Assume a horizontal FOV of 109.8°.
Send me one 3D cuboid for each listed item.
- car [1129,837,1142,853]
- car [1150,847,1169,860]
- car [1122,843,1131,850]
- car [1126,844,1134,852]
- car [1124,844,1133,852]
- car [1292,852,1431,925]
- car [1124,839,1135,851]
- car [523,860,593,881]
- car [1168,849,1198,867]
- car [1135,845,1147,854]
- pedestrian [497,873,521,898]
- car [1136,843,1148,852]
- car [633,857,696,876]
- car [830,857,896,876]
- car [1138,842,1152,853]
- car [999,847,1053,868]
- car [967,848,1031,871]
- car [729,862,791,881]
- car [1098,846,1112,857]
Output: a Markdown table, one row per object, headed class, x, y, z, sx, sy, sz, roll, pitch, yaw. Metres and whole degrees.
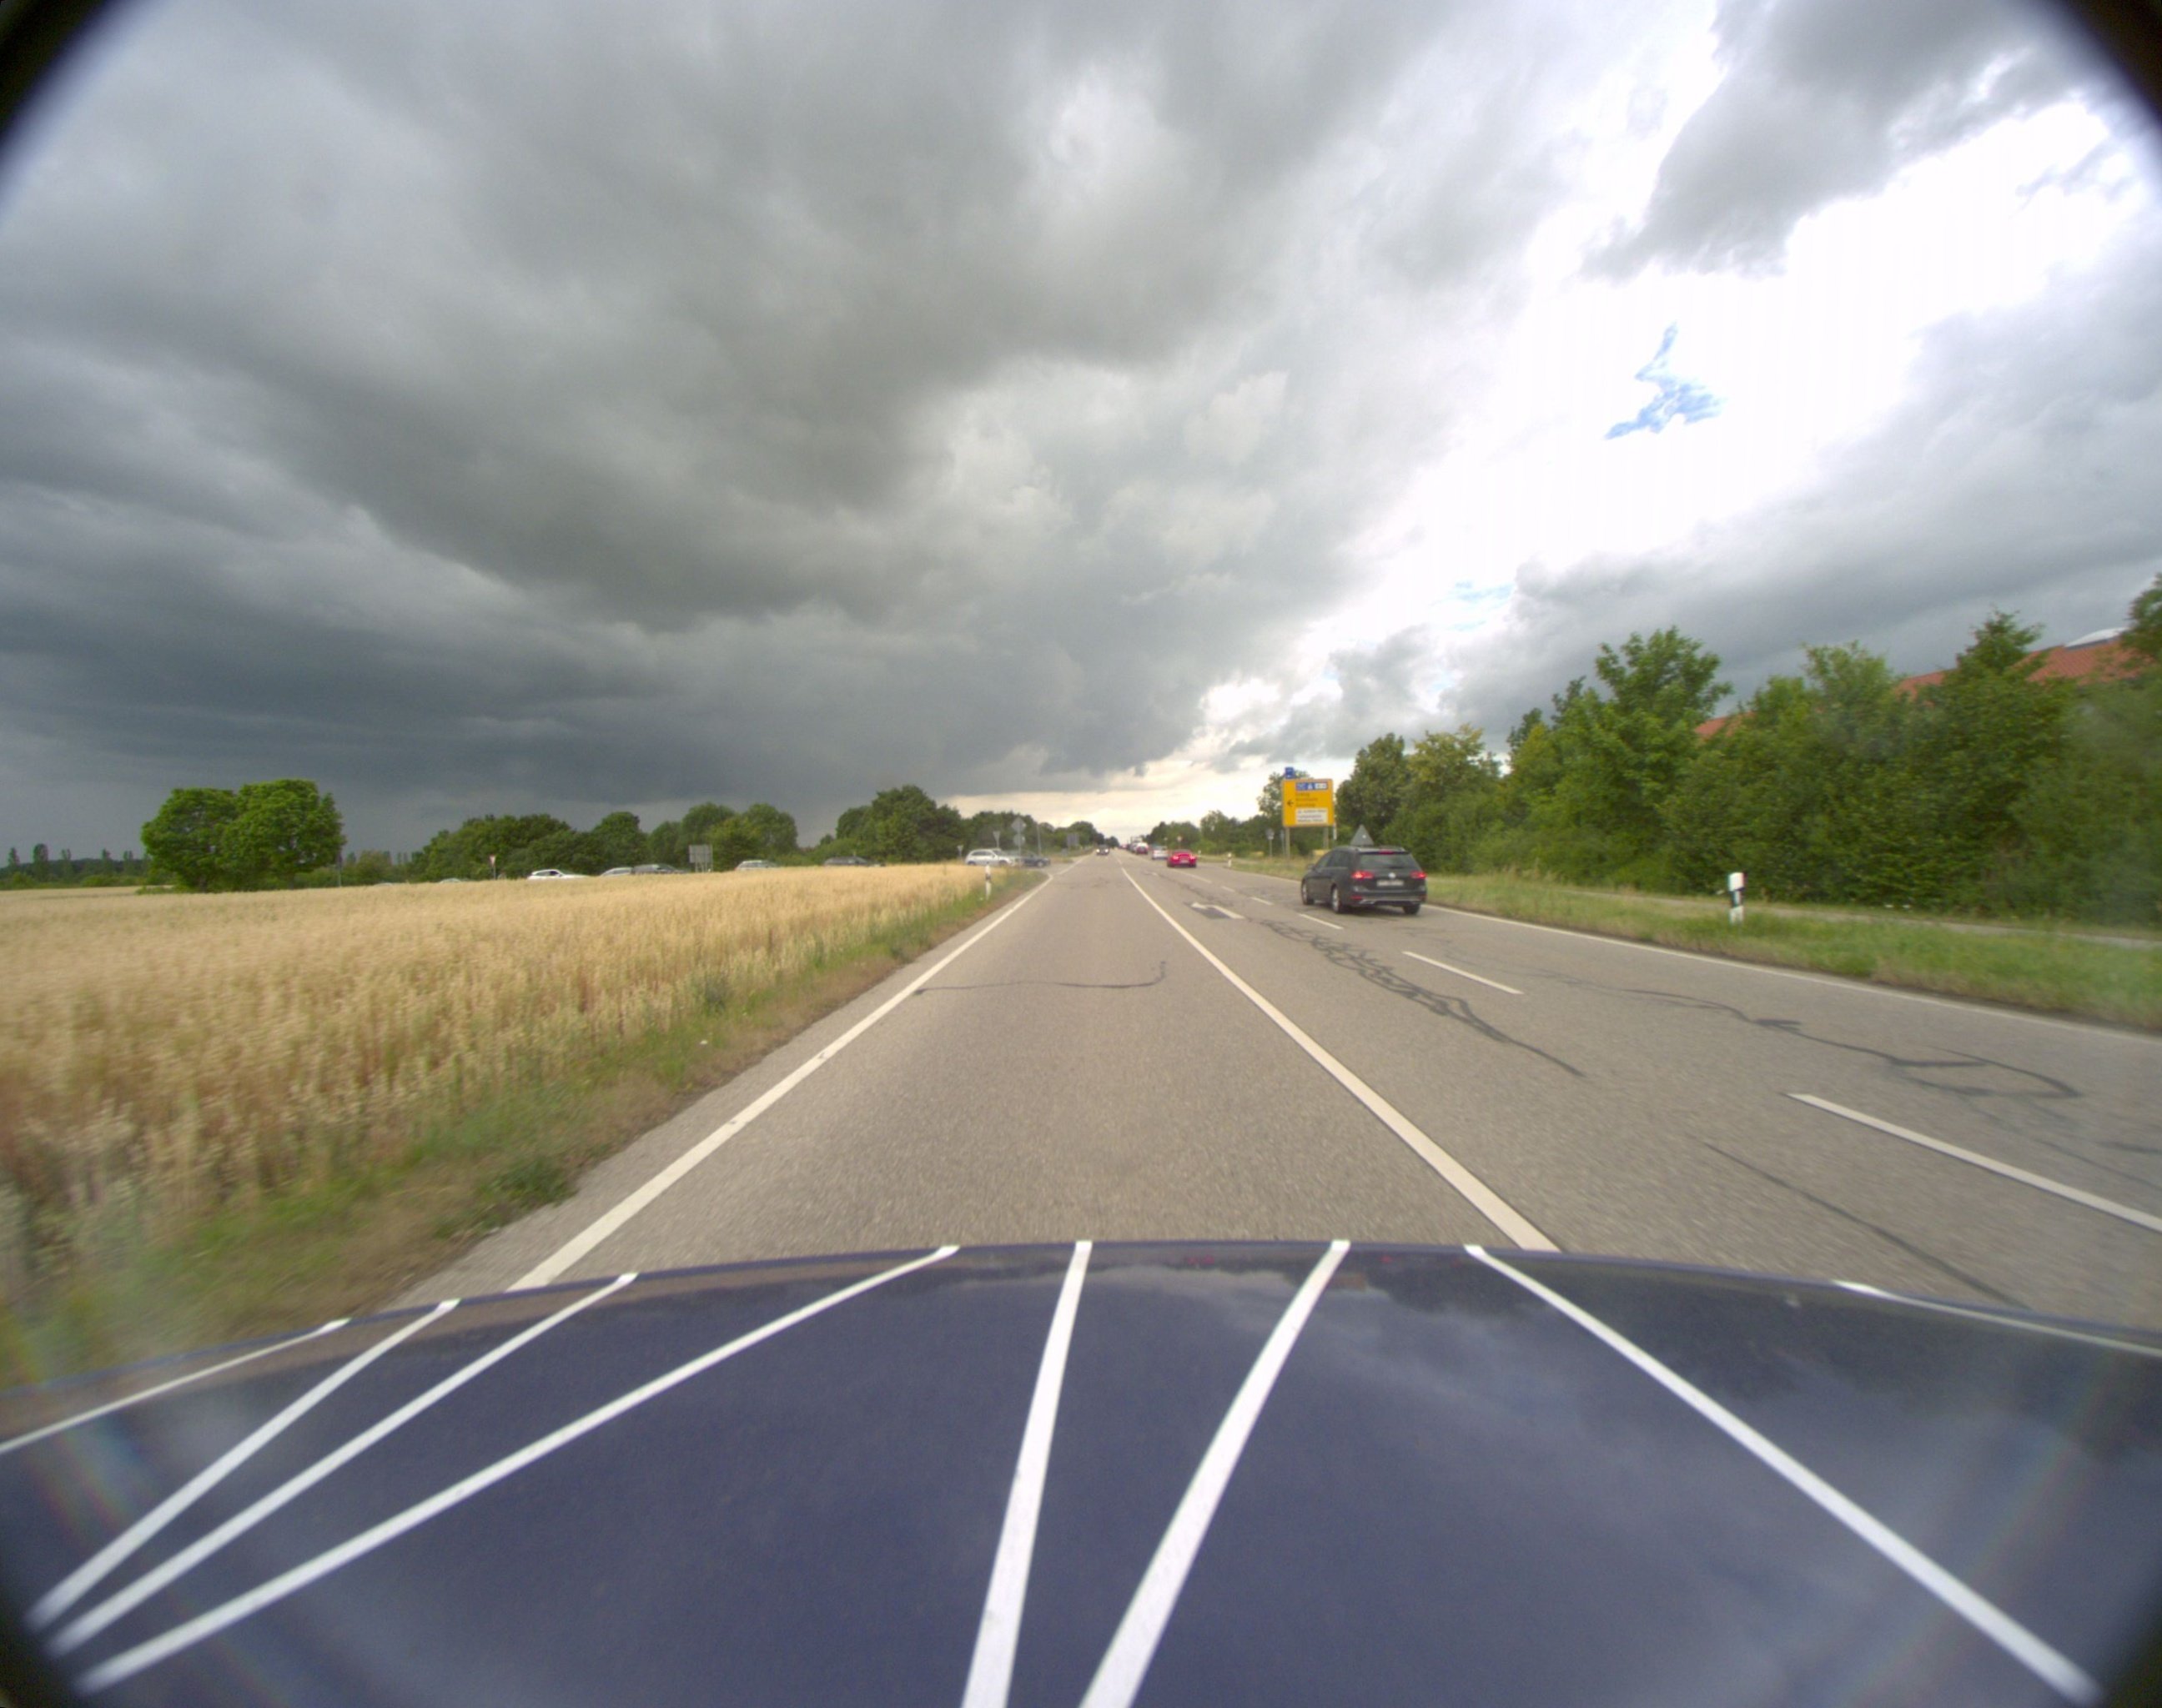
| class | x | y | z | sx | sy | sz | roll | pitch | yaw |
| --- | --- | --- | --- | --- | --- | --- | --- | --- | --- |
| car | 10.724 | -1.778 | 150.375 | 2.339 | 3.011 | 6.558 | 1 | 0 | 2 |
| car | 8.808 | -0.106 | 85.458 | 1.734 | 1.423 | 3.934 | 0 | 0 | 1 |
| car | 12.994 | -2.177 | 217.066 | 2.339 | 1.911 | 4.876 | -2 | 0 | 2 |
| car | 11.787 | -1.459 | 183.208 | 1.856 | 1.739 | 4.000 | -2 | 0 | 2 |
| car | 10.642 | -1.332 | 170.883 | 1.847 | 1.516 | 4.000 | -2 | 0 | 2 |
| car | 6.170 | 0.671 | 17.277 | 1.673 | 1.421 | 4.303 | 0 | 1 | 2 |
| car | 12.522 | -2.394 | 196.814 | 2.339 | 3.011 | 6.558 | -2 | 0 | 2 |
| car | -43.084 | 1.375 | 62.664 | 4.633 | 1.486 | 1.722 | -2 | 3 | 6 |
| car | 7.332 | 0.275 | 55.009 | 1.775 | 1.234 | 4.212 | -1 | 0 | 2 |
| car | 11.035 | -0.848 | 140.226 | 1.998 | 1.614 | 4.261 | 1 | 0 | 1 |
| pedestrian | -37.774 | 2.049 | 50.171 | 0.945 | 1.602 | 0.773 | -2 | 1 | -12 |
| car | 9.722 | -1.017 | 121.472 | 1.676 | 1.393 | 4.090 | 0 | 0 | 2 |
| car | -33.989 | 1.035 | 62.119 | 4.208 | 1.346 | 1.722 | -2 | 3 | 6 |
| car | -17.404 | 0.985 | 60.818 | 4.688 | 1.346 | 1.722 | -2 | 3 | 8 |
| car | 11.099 | -1.164 | 131.850 | 2.111 | 1.875 | 5.391 | -1 | 0 | 2 |
| car | -4.304 | 0.260 | 59.301 | 4.115 | 1.439 | 1.717 | -2 | 2 | -5 |
| car | -6.048 | 0.393 | 55.944 | 4.382 | 1.578 | 2.000 | 0 | 3 | 33 |
| car | -25.943 | 1.393 | 61.488 | 4.208 | 1.345 | 1.723 | -2 | 0 | 6 |
| car | 3.752 | -0.407 | 117.778 | 1.998 | 1.474 | 4.000 | -2 | 1 | 2 |
